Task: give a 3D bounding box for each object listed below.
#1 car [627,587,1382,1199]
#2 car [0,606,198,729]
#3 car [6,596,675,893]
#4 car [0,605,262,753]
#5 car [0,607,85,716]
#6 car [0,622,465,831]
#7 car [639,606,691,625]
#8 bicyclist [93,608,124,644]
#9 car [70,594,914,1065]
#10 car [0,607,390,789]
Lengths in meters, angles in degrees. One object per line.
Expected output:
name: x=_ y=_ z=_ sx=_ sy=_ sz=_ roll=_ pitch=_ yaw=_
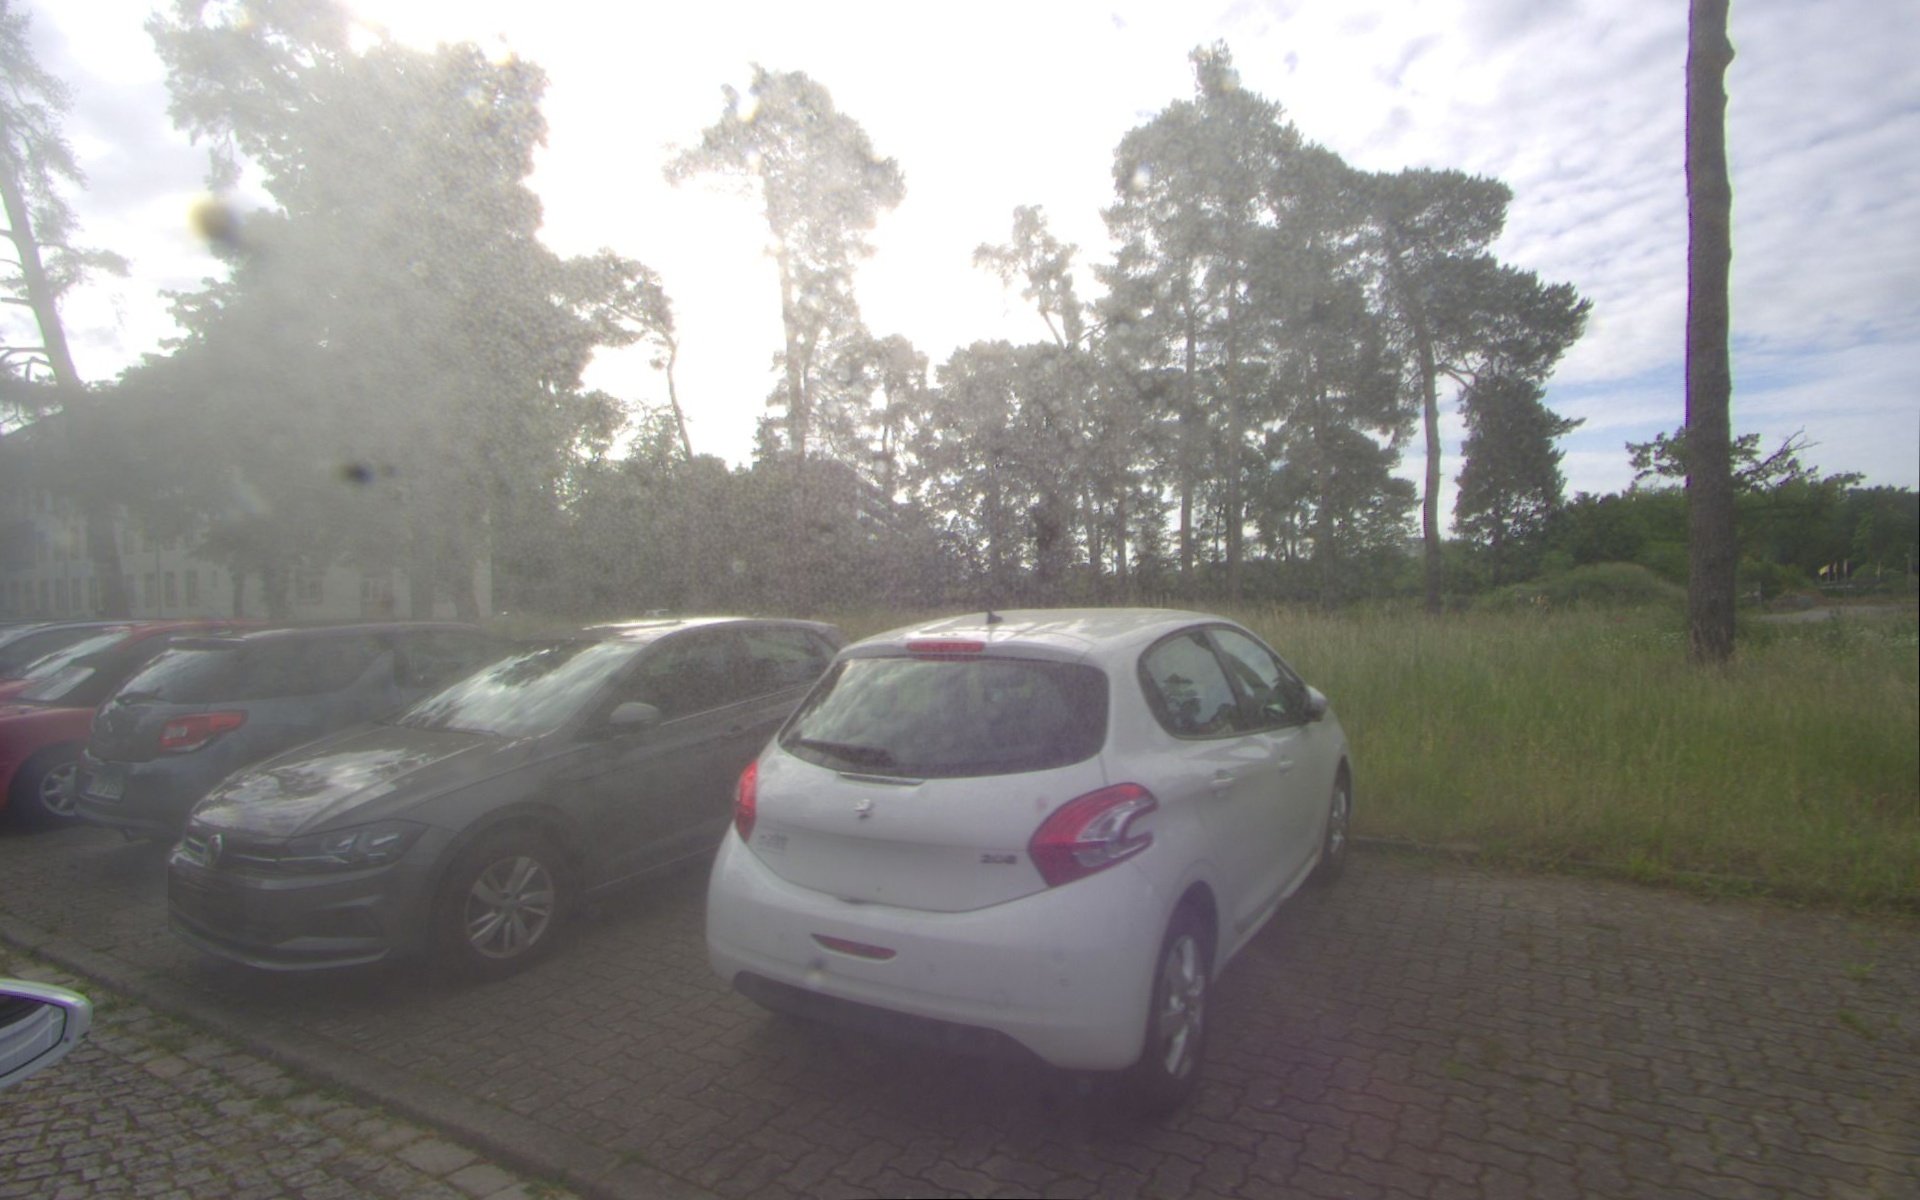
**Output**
car: x=0.655 y=0.742 z=4.508 sx=1.733 sy=1.492 sz=3.853 roll=0 pitch=2 yaw=32
car: x=-12.719 y=0.890 z=12.553 sx=1.842 sy=1.436 sz=4.674 roll=-1 pitch=2 yaw=28
car: x=-4.200 y=0.779 z=7.476 sx=1.731 sy=1.492 sz=3.856 roll=0 pitch=2 yaw=29
car: x=-10.559 y=0.857 z=11.004 sx=1.839 sy=1.436 sz=4.423 roll=-1 pitch=2 yaw=22
car: x=-14.828 y=0.931 z=13.732 sx=1.619 sy=1.497 sz=3.917 roll=0 pitch=2 yaw=32
car: x=-6.566 y=0.909 z=8.559 sx=1.731 sy=1.253 sz=3.856 roll=-1 pitch=2 yaw=29
car: x=-23.841 y=1.275 z=80.974 sx=1.627 sy=1.439 sz=3.941 roll=-1 pitch=-3 yaw=33
bicyclist: x=-33.840 y=1.027 z=39.795 sx=0.596 sy=1.429 sz=0.748 roll=0 pitch=1 yaw=30
car: x=-2.035 y=0.777 z=5.479 sx=1.732 sy=1.492 sz=3.854 roll=0 pitch=2 yaw=30
car: x=-8.455 y=0.879 z=10.175 sx=1.843 sy=1.436 sz=4.253 roll=0 pitch=2 yaw=30
